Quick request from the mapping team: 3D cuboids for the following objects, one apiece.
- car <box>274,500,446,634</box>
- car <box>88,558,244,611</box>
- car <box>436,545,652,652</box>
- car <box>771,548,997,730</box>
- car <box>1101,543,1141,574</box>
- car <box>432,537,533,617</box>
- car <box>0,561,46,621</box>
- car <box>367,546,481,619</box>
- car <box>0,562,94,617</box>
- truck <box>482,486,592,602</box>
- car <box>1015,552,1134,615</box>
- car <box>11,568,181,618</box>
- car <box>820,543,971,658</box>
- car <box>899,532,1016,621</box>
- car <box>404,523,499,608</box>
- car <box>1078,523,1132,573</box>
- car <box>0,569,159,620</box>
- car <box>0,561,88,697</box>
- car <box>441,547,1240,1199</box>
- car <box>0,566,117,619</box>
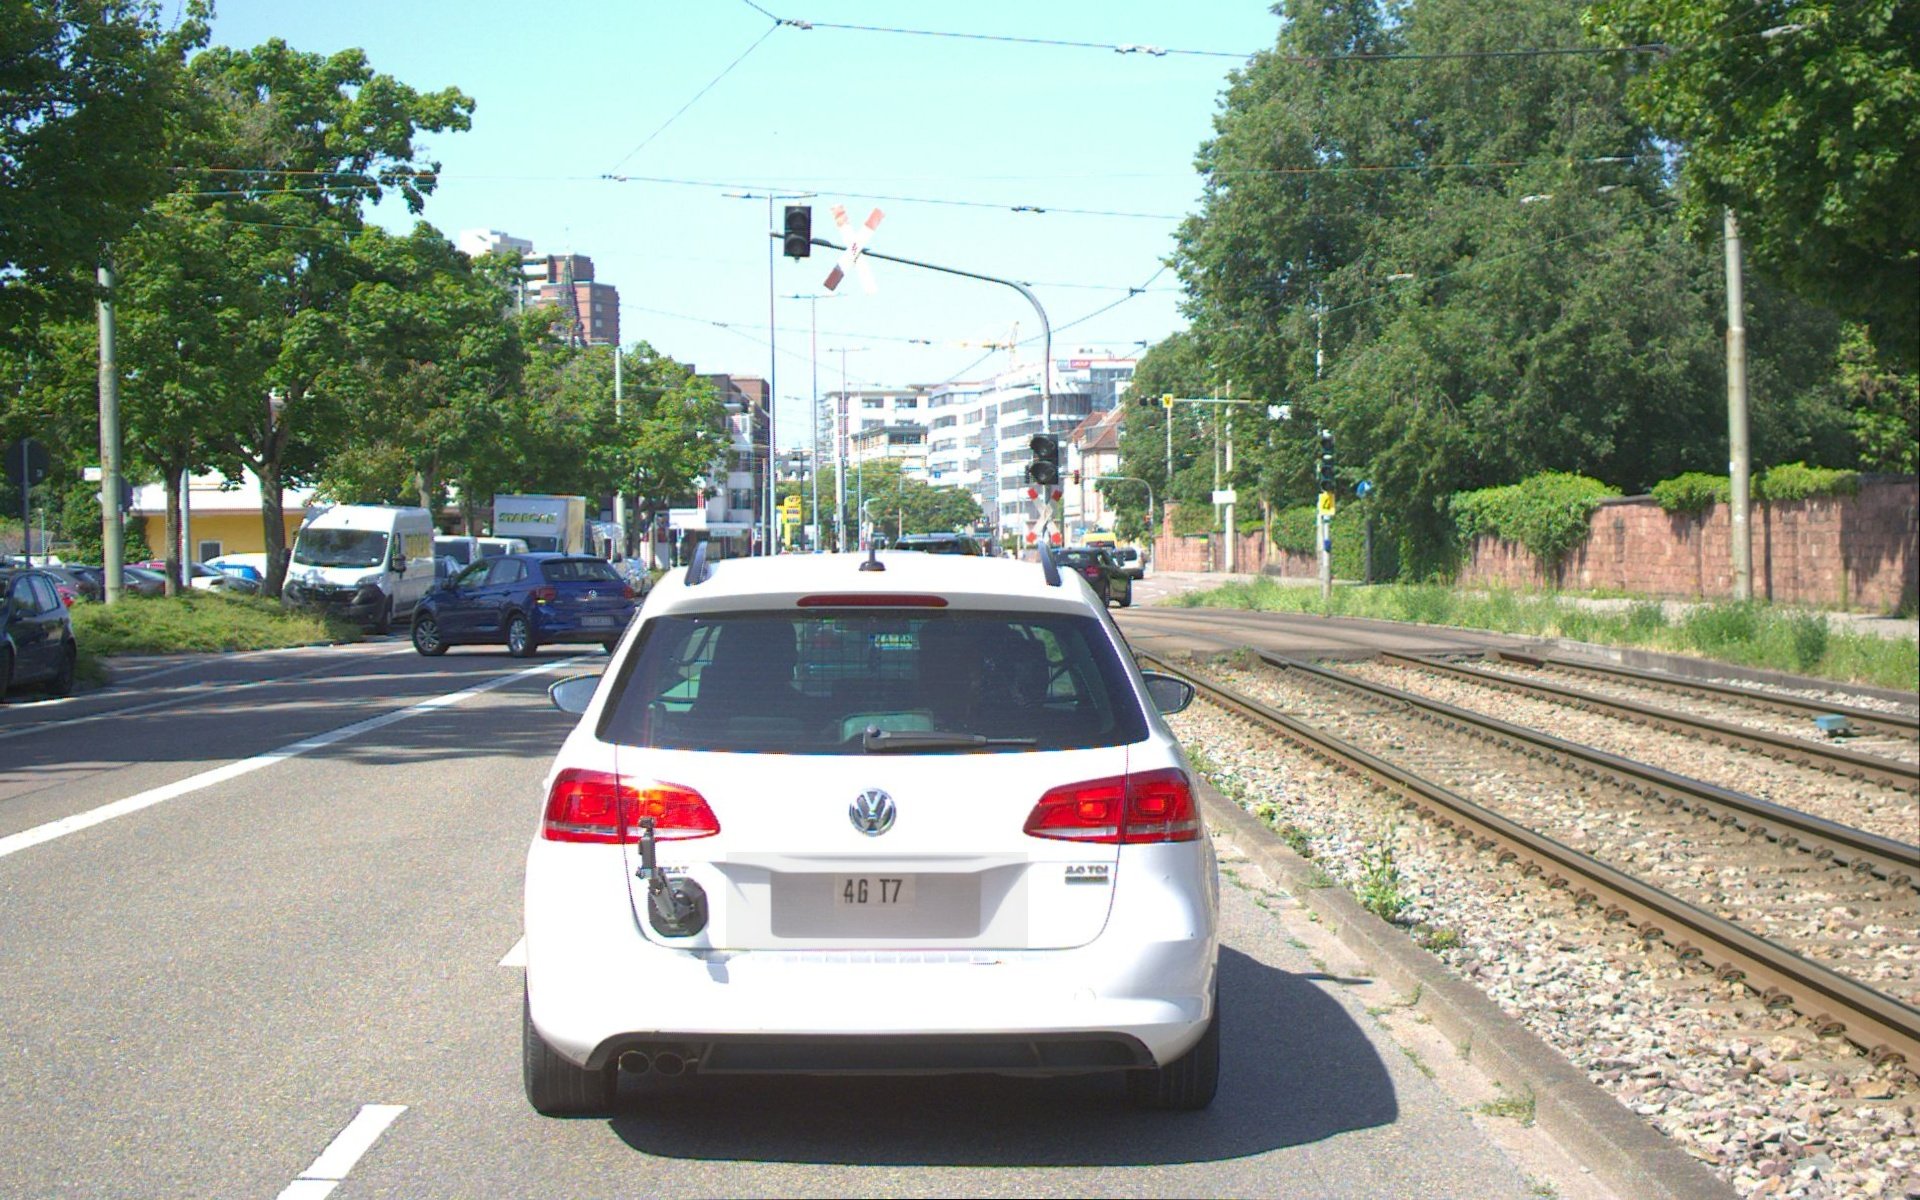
[{"bbox_3d":[-11.929,-0.690,68.797,2.059,2.492,6.307,2,1,2],"label":"car"},{"bbox_3d":[-22.586,-0.443,97.917,3.987,1.439,1.771,-1,1,2],"label":"car"},{"bbox_3d":[-5.879,-0.041,48.234,1.745,1.403,3.914,0,1,-27],"label":"car"},{"bbox_3d":[-0.629,0.279,28.864,1.746,1.383,3.913,1,1,-1],"label":"car"},{"bbox_3d":[7.349,-1.901,156.986,1.581,1.341,3.454,1,0,-1],"label":"car"},{"bbox_3d":[-12.221,-0.622,88.212,1.843,1.954,5.134,-1,1,0],"label":"car"},{"bbox_3d":[-23.026,-0.188,78.169,3.987,1.345,1.771,-1,1,2],"label":"car"},{"bbox_3d":[-11.658,-0.401,75.024,1.843,1.511,4.197,-1,1,-1],"label":"car"},{"bbox_3d":[-22.566,-0.236,80.727,3.987,1.260,1.771,-1,1,2],"label":"car"},{"bbox_3d":[-11.875,-1.587,96.952,2.356,3.112,6.892,-1,1,-1],"label":"truck"},{"bbox_3d":[2.705,-0.404,80.702,1.747,1.403,3.909,2,1,18],"label":"car"},{"bbox_3d":[-22.655,-0.197,90.234,3.987,1.221,1.771,-1,1,2],"label":"car"},{"bbox_3d":[-0.809,-0.031,45.522,1.861,1.412,4.325,1,1,0],"label":"car"},{"bbox_3d":[-0.019,-0.440,62.342,1.861,1.508,3.913,1,1,3],"label":"car"},{"bbox_3d":[-12.123,-0.843,82.200,1.843,1.930,5.195,-1,1,-4],"label":"car"},{"bbox_3d":[7.561,-2.691,179.865,2.463,2.490,5.910,1,0,-1],"label":"car"},{"bbox_3d":[-22.750,-0.135,88.115,3.987,1.221,1.771,-1,1,2],"label":"car"},{"bbox_3d":[-11.237,0.293,38.968,1.641,1.445,4.004,1,1,0],"label":"car"},{"bbox_3d":[-0.318,0.596,9.706,1.768,1.441,3.913,1,1,-1],"label":"car"},{"bbox_3d":[-22.629,-0.185,83.204,3.987,1.221,1.771,-1,1,2],"label":"car"}]
